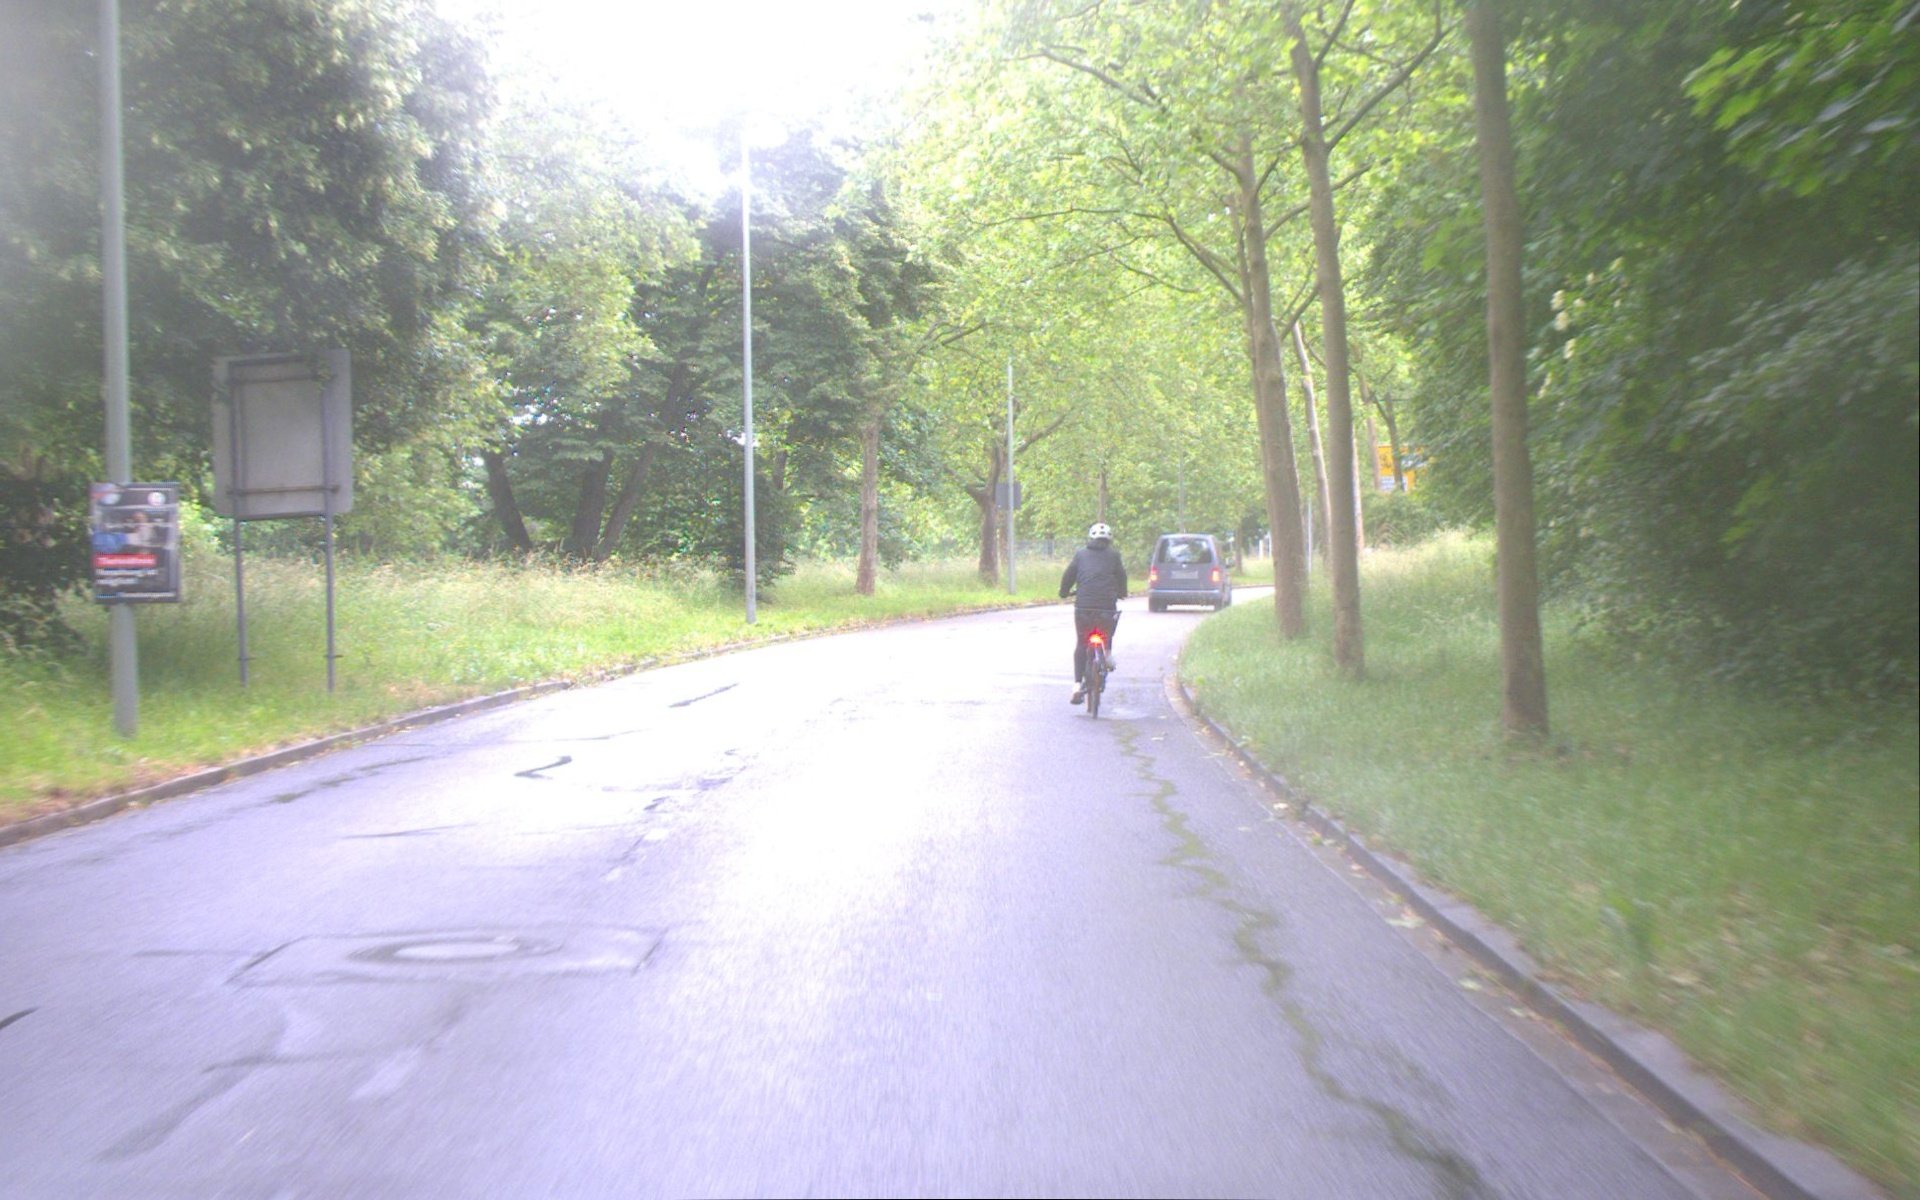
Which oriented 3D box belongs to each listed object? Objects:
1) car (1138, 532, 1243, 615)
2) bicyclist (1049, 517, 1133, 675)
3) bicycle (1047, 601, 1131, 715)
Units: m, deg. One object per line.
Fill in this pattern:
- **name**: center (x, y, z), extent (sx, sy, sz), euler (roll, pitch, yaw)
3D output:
- **car**: center (5.468, -0.645, 81.166), extent (1.986, 1.919, 3.998), euler (0, 1, 11)
- **bicyclist**: center (1.199, -0.042, 31.399), extent (0.730, 1.406, 0.973), euler (1, 1, 3)
- **bicycle**: center (1.201, 0.518, 31.675), extent (0.730, 0.970, 2.173), euler (1, 1, 3)
